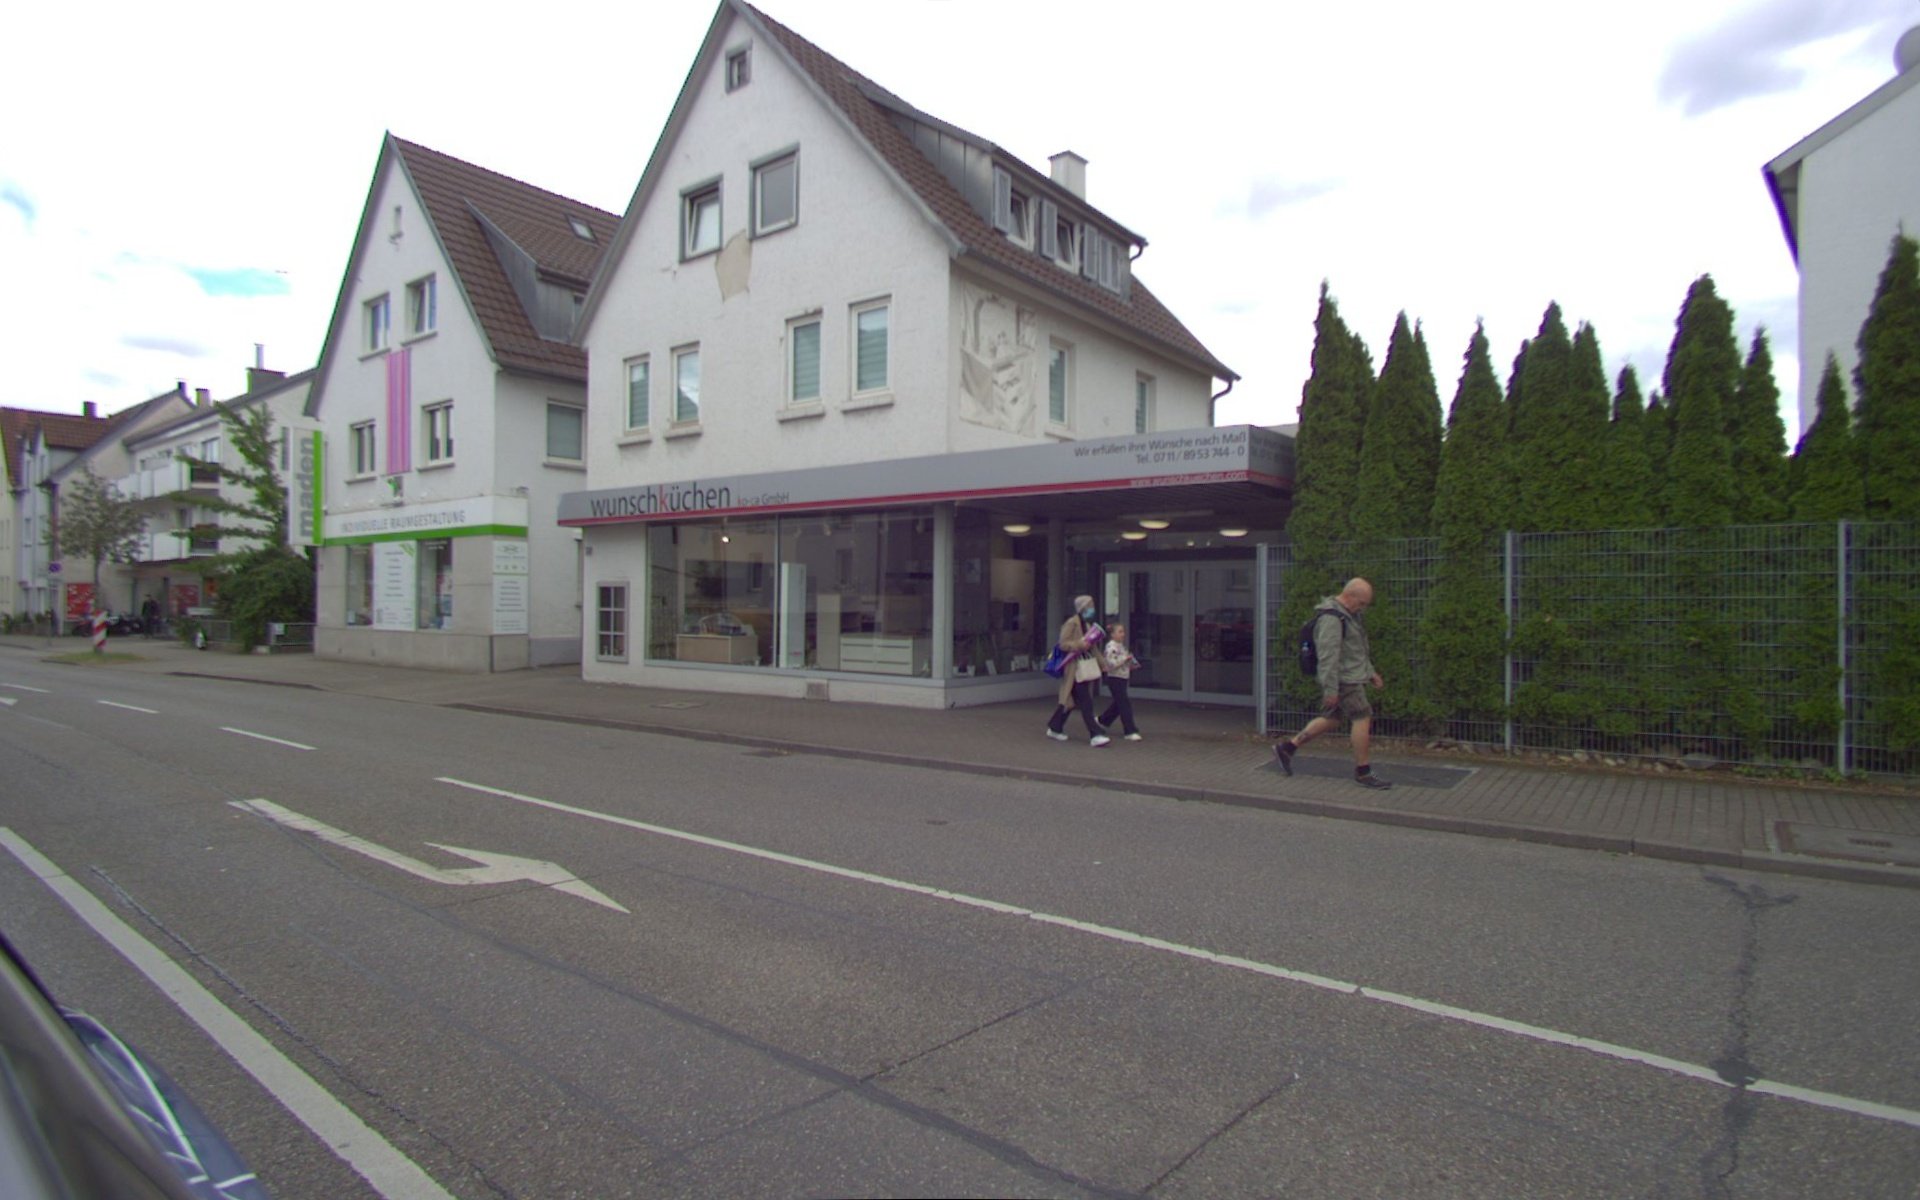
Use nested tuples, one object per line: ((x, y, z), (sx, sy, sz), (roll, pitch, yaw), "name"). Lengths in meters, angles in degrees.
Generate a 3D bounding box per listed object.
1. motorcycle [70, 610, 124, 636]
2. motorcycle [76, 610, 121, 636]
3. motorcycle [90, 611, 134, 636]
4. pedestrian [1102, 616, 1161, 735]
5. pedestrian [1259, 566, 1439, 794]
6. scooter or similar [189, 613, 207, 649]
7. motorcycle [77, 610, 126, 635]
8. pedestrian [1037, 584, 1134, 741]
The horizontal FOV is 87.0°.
((-39.399, 1.036, 46.226), (0.504, 1.114, 1.812), (0, 1, 38), "motorcycle")
((-38.744, 1.040, 45.530), (0.590, 1.114, 1.495), (0, 1, 44), "motorcycle")
((-37.974, 1.036, 45.330), (0.524, 1.030, 1.412), (0, 1, 38), "motorcycle")
((1.903, 0.816, 11.235), (0.548, 1.271, 0.379), (0, 1, 29), "pedestrian")
((3.279, 0.613, 8.546), (1.228, 1.767, 0.813), (0, 1, 40), "pedestrian")
((-25.052, 1.000, 33.269), (0.458, 1.132, 1.832), (-1, 0, -37), "scooter or similar")
((-39.814, 1.030, 46.956), (0.558, 1.114, 1.658), (0, 1, 38), "motorcycle")
((1.360, 0.642, 10.949), (0.863, 1.617, 0.635), (0, 1, 29), "pedestrian")
